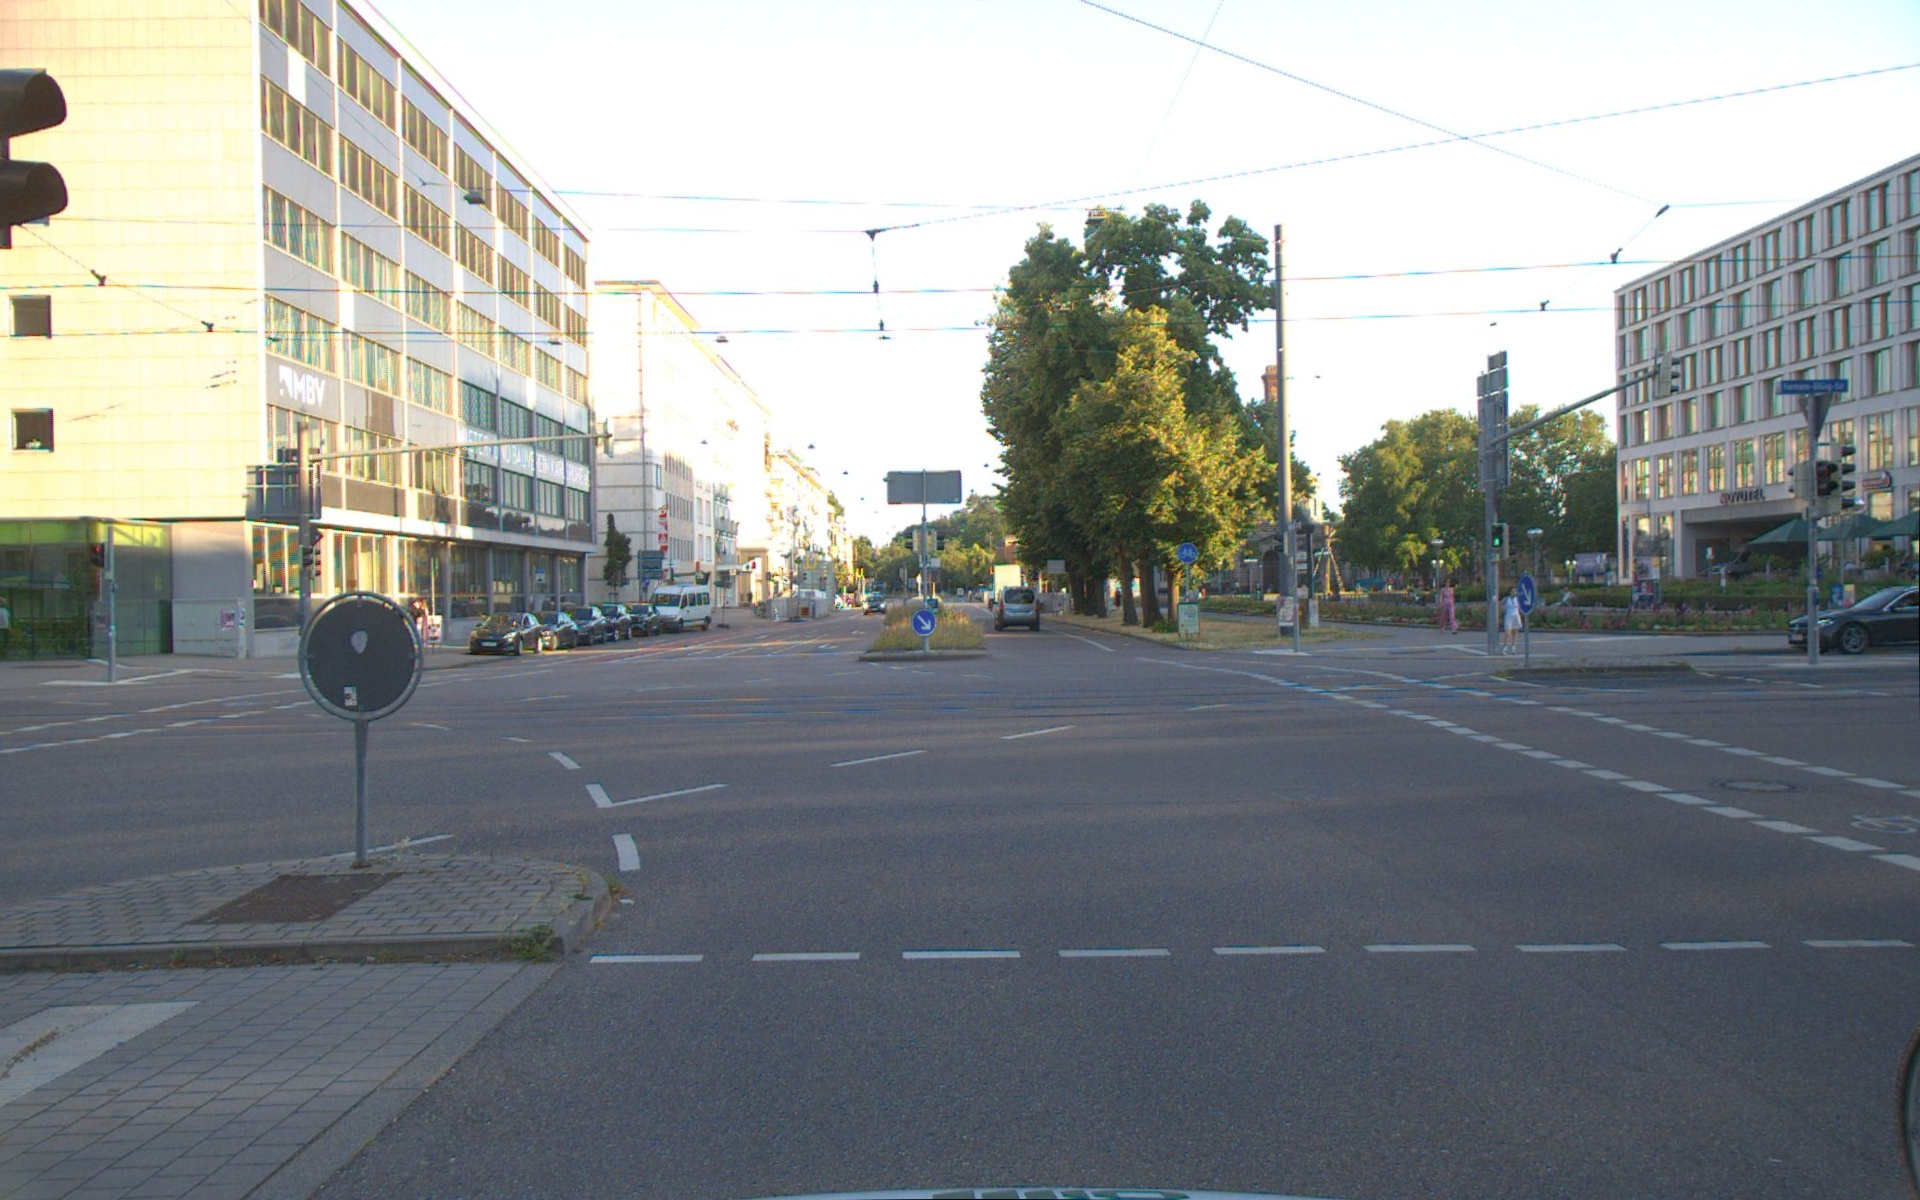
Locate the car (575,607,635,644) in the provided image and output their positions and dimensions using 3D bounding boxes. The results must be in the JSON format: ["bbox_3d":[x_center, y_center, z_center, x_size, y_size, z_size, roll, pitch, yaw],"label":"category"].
[{"bbox_3d":[-16.198,1.137,75.664,1.882,1.596,3.999,-1,0,-1],"label":"car"}]

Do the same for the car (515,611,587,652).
[{"bbox_3d":[-16.168,1.215,65.546,1.882,1.489,3.999,-1,0,-1],"label":"car"}]

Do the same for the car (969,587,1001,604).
[{"bbox_3d":[3.197,-0.597,214.482,3.909,2.049,1.998,-1,0,-5],"label":"car"}]

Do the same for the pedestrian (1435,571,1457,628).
[{"bbox_3d":[14.557,-0.004,49.511,0.451,1.685,0.566,-1,0,-1],"label":"pedestrian"}]

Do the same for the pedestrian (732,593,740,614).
[{"bbox_3d":[-21.931,0.345,161.892,0.666,2.049,0.545,-1,0,-1],"label":"pedestrian"}]

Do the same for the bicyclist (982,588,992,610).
[{"bbox_3d":[2.152,-0.069,129.918,0.731,1.692,0.873,-1,0,-1],"label":"bicyclist"}]

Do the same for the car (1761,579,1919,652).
[{"bbox_3d":[20.957,0.316,37.359,4.724,1.542,2.000,-1,0,1],"label":"car"}]

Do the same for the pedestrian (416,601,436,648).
[{"bbox_3d":[-19.678,0.881,60.901,0.540,1.708,0.500,-1,0,-1],"label":"pedestrian"}]

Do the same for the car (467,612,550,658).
[{"bbox_3d":[-16.049,1.235,58.983,1.882,1.489,4.102,-1,0,-1],"label":"car"}]

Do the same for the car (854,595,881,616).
[{"bbox_3d":[-7.053,0.393,125.924,1.825,1.546,4.000,-1,0,0],"label":"car"}]

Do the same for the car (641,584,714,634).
[{"bbox_3d":[-15.024,0.440,88.374,1.958,2.521,5.873,-1,0,9],"label":"car"}]

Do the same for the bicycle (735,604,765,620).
[{"bbox_3d":[-15.577,0.868,122.597,2.161,1.132,0.618,-1,0,-3],"label":"bicycle"}]

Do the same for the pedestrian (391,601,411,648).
[{"bbox_3d":[-20.736,0.903,61.403,0.540,1.708,0.500,-1,0,-1],"label":"pedestrian"}]

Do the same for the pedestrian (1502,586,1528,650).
[{"bbox_3d":[13.679,0.441,40.772,0.481,1.567,0.408,-1,0,-1],"label":"pedestrian"}]

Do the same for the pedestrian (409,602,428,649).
[{"bbox_3d":[-20.118,0.946,61.434,0.490,1.708,0.500,-1,0,-1],"label":"pedestrian"}]

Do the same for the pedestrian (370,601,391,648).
[{"bbox_3d":[-21.288,0.889,60.779,0.540,1.708,0.500,-1,0,-1],"label":"pedestrian"}]

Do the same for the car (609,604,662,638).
[{"bbox_3d":[-16.033,1.008,81.896,1.882,1.596,3.999,-1,0,-1],"label":"car"}]

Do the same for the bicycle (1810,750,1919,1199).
[{"bbox_3d":[2.298,0.929,2.861,0.599,1.152,2.004,0,0,-1],"label":"bicycle"}]

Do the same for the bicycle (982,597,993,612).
[{"bbox_3d":[2.169,0.364,130.152,0.731,1.164,2.505,-1,0,-1],"label":"bicycle"}]

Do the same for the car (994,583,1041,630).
[{"bbox_3d":[2.427,0.265,70.699,1.727,1.921,4.498,-1,0,-2],"label":"car"}]

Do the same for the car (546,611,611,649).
[{"bbox_3d":[-16.195,1.251,70.360,1.882,1.489,3.999,-1,0,-1],"label":"car"}]
